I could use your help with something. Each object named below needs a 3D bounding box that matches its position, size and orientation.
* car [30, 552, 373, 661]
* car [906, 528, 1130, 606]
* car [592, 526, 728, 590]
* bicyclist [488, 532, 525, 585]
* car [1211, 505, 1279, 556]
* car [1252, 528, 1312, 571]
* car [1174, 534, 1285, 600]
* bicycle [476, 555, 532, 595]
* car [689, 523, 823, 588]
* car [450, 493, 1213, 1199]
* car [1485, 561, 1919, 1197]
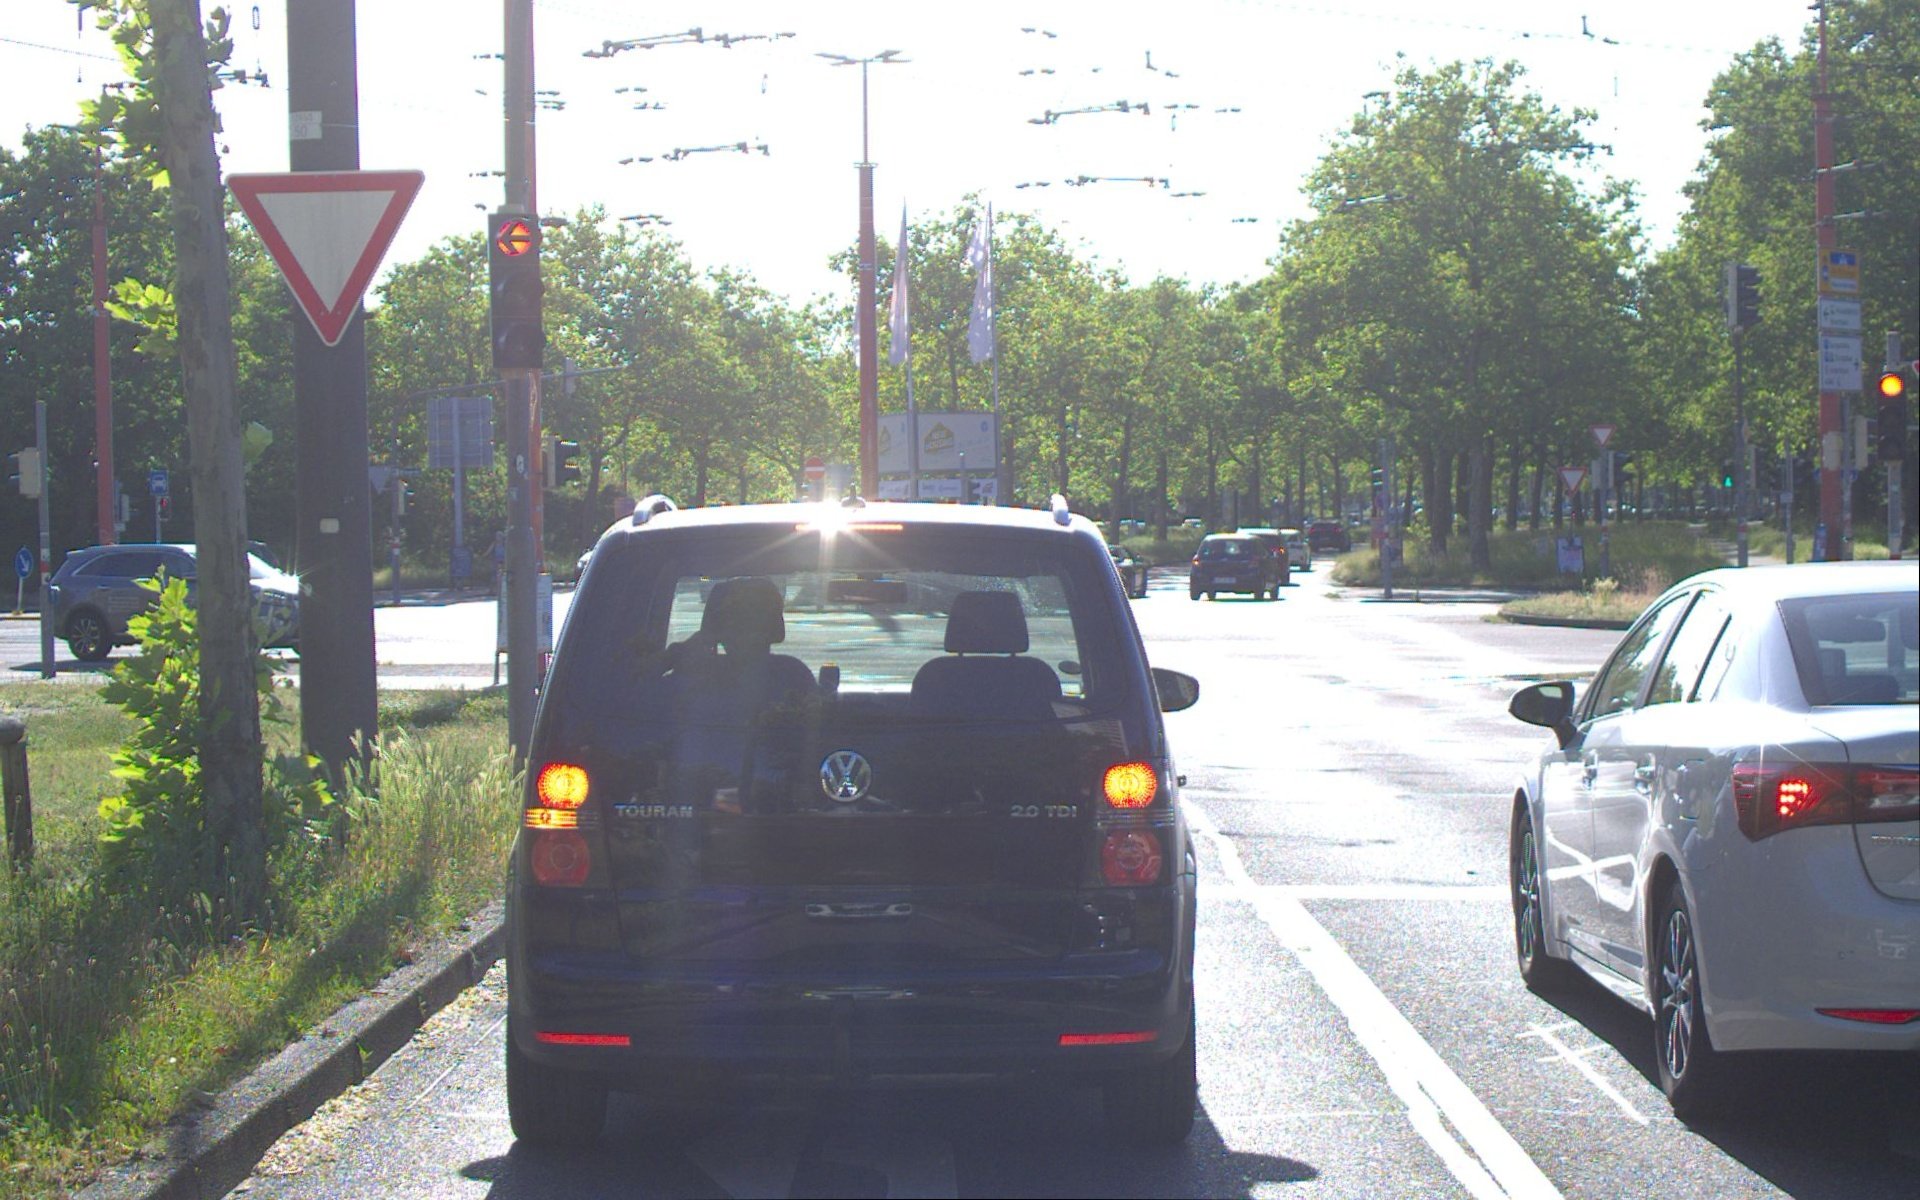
[{"bbox_3d":[-11.140,0.079,50.492,4.638,1.538,1.997,0,1,24],"label":"car"},{"bbox_3d":[1.150,-0.654,66.765,4.229,1.459,1.913,-1,1,-44],"label":"car"},{"bbox_3d":[-8.090,-1.156,93.212,1.995,1.679,4.825,0,1,17],"label":"car"},{"bbox_3d":[-12.489,-1.152,94.624,0.693,1.452,0.874,0,1,18],"label":"bicyclist"},{"bbox_3d":[8.474,-2.089,102.463,1.908,1.459,4.374,0,2,4],"label":"car"},{"bbox_3d":[11.238,-1.771,119.775,1.908,1.459,4.222,0,1,8],"label":"car"},{"bbox_3d":[6.223,-0.778,79.041,1.909,1.459,4.054,0,1,14],"label":"car"},{"bbox_3d":[-12.520,-0.684,94.413,0.735,1.086,1.959,0,1,18],"label":"bicycle"},{"bbox_3d":[-5.391,-1.195,91.527,1.995,1.679,4.825,0,1,17],"label":"car"},{"bbox_3d":[-0.315,0.544,9.872,1.737,1.635,4.000,0,1,-1],"label":"car"},{"bbox_3d":[2.689,0.628,10.073,1.715,1.449,4.144,0,1,1],"label":"car"}]
